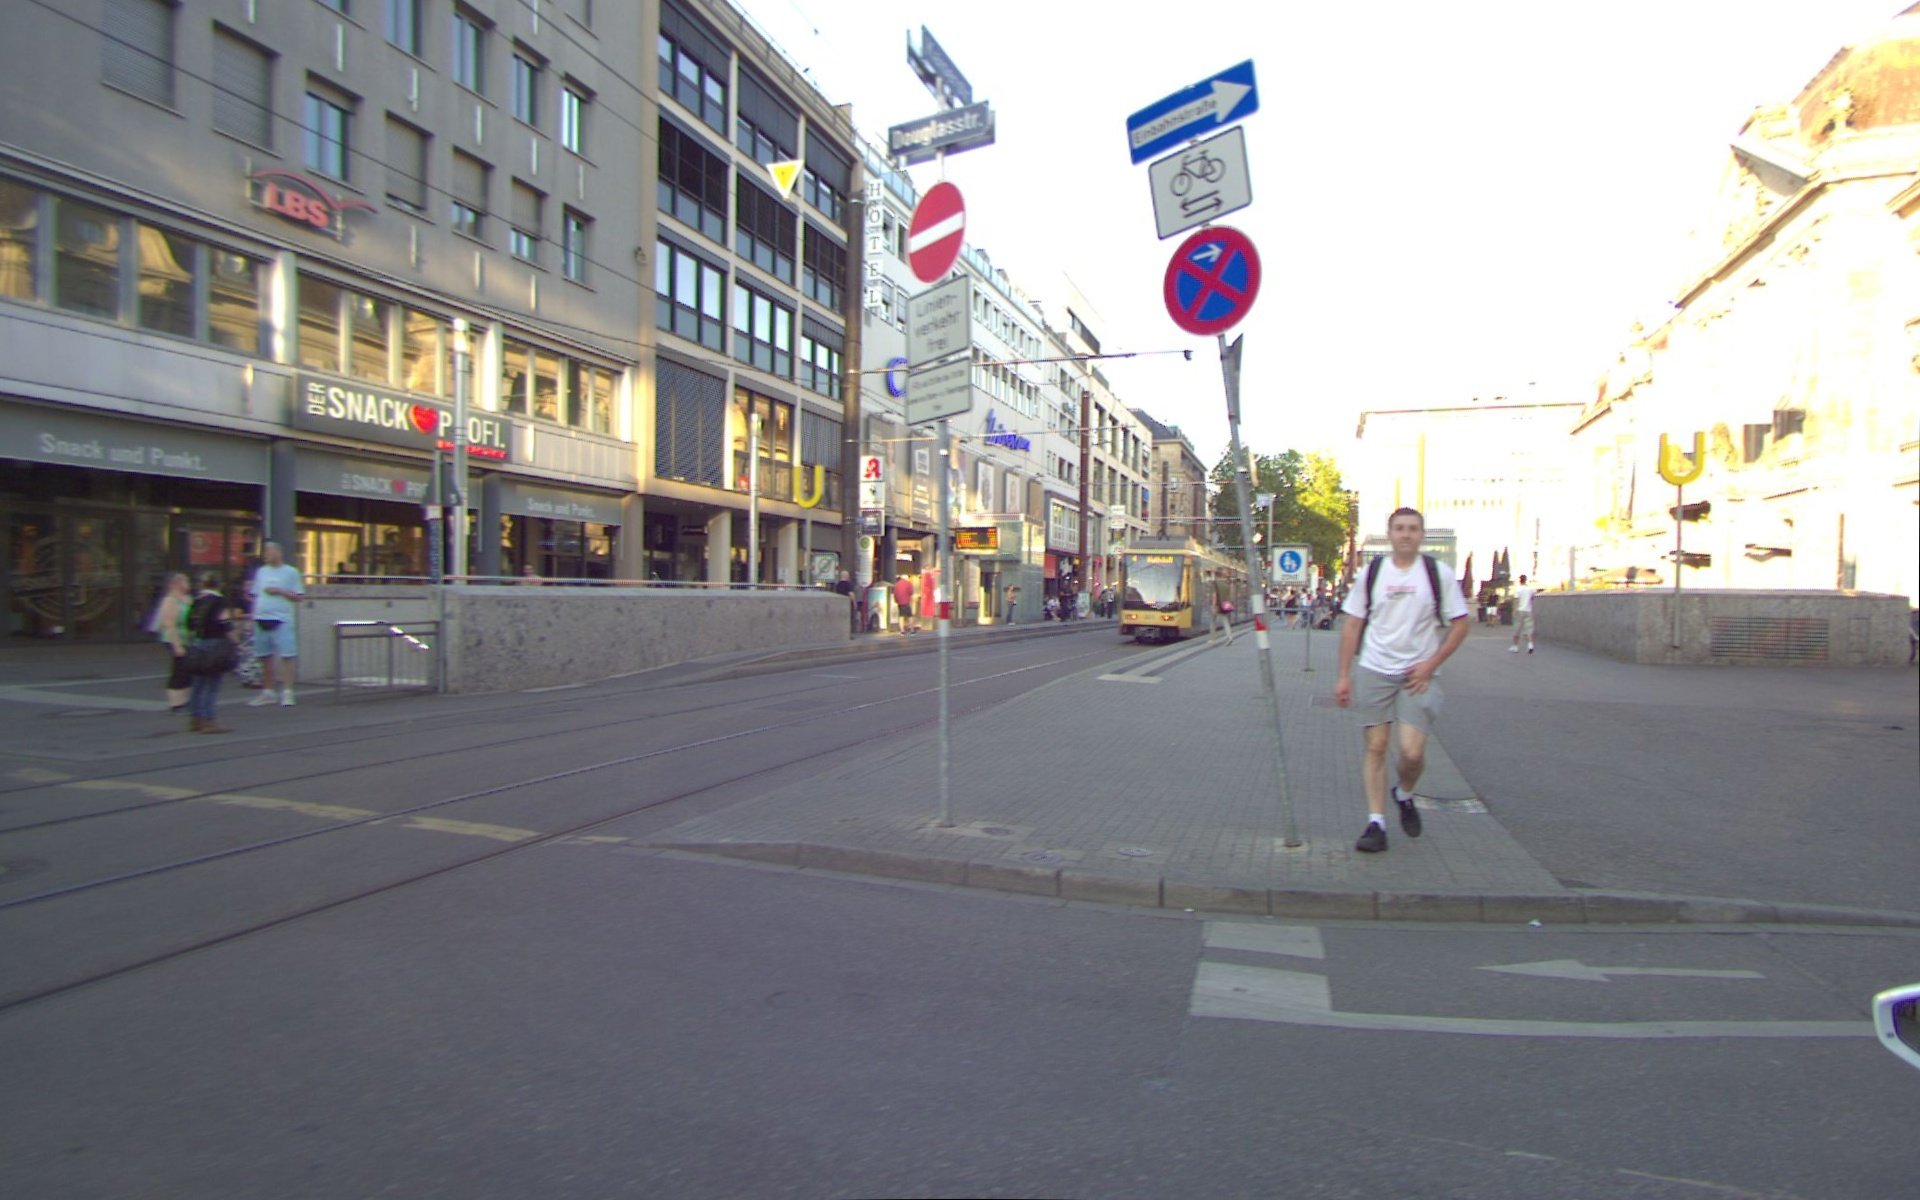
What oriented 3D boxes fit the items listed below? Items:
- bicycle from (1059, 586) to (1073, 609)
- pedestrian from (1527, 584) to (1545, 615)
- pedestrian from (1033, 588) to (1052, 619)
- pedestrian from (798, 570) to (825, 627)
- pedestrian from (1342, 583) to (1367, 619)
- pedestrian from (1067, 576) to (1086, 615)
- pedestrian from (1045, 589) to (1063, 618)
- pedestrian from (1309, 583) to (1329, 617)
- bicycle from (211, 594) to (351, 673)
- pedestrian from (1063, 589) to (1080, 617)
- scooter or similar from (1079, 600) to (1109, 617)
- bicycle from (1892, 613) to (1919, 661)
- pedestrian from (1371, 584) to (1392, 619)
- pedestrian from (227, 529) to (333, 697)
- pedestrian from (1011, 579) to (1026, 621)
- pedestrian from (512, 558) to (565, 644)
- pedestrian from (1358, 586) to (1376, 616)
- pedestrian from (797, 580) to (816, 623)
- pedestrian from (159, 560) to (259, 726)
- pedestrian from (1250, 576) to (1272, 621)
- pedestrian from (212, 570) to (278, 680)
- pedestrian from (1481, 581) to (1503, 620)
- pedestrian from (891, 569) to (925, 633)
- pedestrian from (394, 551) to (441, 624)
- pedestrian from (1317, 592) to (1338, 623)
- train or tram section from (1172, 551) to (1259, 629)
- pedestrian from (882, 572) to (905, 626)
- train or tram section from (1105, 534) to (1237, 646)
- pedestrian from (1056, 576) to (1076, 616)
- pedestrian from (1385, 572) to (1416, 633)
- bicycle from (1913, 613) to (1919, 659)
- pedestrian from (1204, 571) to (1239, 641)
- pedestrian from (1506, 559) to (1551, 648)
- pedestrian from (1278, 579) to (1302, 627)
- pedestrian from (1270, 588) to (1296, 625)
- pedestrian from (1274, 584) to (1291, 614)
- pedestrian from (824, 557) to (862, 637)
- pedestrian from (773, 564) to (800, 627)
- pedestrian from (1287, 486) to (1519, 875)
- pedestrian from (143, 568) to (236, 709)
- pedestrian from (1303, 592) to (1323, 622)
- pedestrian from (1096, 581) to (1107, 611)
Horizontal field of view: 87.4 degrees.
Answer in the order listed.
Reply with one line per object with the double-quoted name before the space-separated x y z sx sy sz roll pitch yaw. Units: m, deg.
"bicycle" 5.385 -0.148 50.978 0.426 1.157 1.617 1 1 -3
"pedestrian" 34.729 -0.036 60.557 0.760 1.849 0.850 1 1 18
"pedestrian" 3.833 0.158 46.812 0.695 1.397 0.720 1 0 20
"pedestrian" -4.222 -0.041 28.597 0.619 1.609 0.602 1 0 -21
"pedestrian" 18.485 0.043 47.084 0.757 1.684 0.791 0 1 -20
"pedestrian" 5.395 -0.204 46.484 0.696 1.748 0.774 1 0 -8
"pedestrian" 4.581 0.157 48.807 0.695 1.397 0.720 1 0 20
"pedestrian" 17.864 -0.005 50.015 0.781 1.684 0.767 1 1 32
"bicycle" -10.559 0.490 15.703 0.491 1.122 1.798 1 2 26
"pedestrian" 5.776 0.156 51.968 0.695 1.397 0.720 1 0 20
"scooter or similar" 6.934 0.421 51.851 1.508 0.842 0.554 1 0 -31
"bicycle" 18.254 0.696 19.159 0.310 0.879 1.000 0 1 19
"pedestrian" 20.601 0.080 49.106 0.781 1.684 0.767 1 1 32
"pedestrian" -8.178 0.143 12.102 0.760 1.952 0.710 1 0 13
"pedestrian" 2.287 0.011 39.367 0.502 1.639 0.505 1 0 12
"pedestrian" -8.841 0.019 21.077 0.702 1.748 0.709 1 0 19
"pedestrian" 22.870 0.063 56.436 0.781 1.684 0.767 1 1 32
"pedestrian" -5.613 0.058 36.791 0.499 1.568 0.518 1 0 13
"pedestrian" -7.343 0.407 9.845 0.678 1.562 0.601 1 0 -28
"pedestrian" 12.648 -0.060 42.254 0.721 1.848 0.820 1 1 6
"pedestrian" -9.729 0.337 13.692 0.677 1.453 0.551 1 0 -31
"pedestrian" 25.109 0.021 47.399 0.762 1.848 0.847 1 1 35
"pedestrian" -1.436 0.025 27.704 0.701 1.720 0.786 1 0 15
"pedestrian" -13.221 -0.312 24.484 0.702 1.748 0.709 1 0 19
"pedestrian" 15.432 0.306 42.196 0.779 1.238 0.769 1 1 17
"train or tram section" 13.260 -0.528 51.046 2.754 3.364 14.505 1 1 20
"pedestrian" -2.036 -0.030 30.792 0.593 1.609 0.628 1 0 8
"train or tram section" 8.280 -0.393 37.447 2.754 3.364 14.505 1 1 20
"pedestrian" 4.720 -0.180 44.800 0.697 1.748 0.774 1 0 -10
"pedestrian" 13.599 0.072 31.031 0.760 1.848 0.940 0 0 17
"bicycle" 18.554 0.705 19.046 0.310 0.879 1.000 0 1 19
"pedestrian" 6.656 0.154 25.607 0.706 1.748 0.709 1 0 2
"pedestrian" 13.381 0.075 23.639 0.760 2.041 0.914 2 1 36
"pedestrian" 13.010 0.116 39.653 0.721 1.848 0.820 1 1 6
"pedestrian" 14.177 0.291 44.030 0.788 1.600 0.760 0 1 -40
"pedestrian" 18.529 -0.066 57.742 0.756 1.684 0.793 1 1 33
"pedestrian" -2.895 -0.070 24.950 0.701 1.950 0.710 1 0 16
"pedestrian" -4.940 -0.122 28.589 0.619 1.748 0.602 1 0 -23
"pedestrian" 2.481 0.382 5.584 0.999 1.888 1.040 2 1 31
"pedestrian" -8.538 0.413 11.144 0.593 1.514 0.556 1 0 13
"pedestrian" 15.159 0.288 43.164 0.779 1.238 0.769 1 1 17
"pedestrian" 8.328 -0.243 59.192 0.590 1.750 0.608 1 0 14
